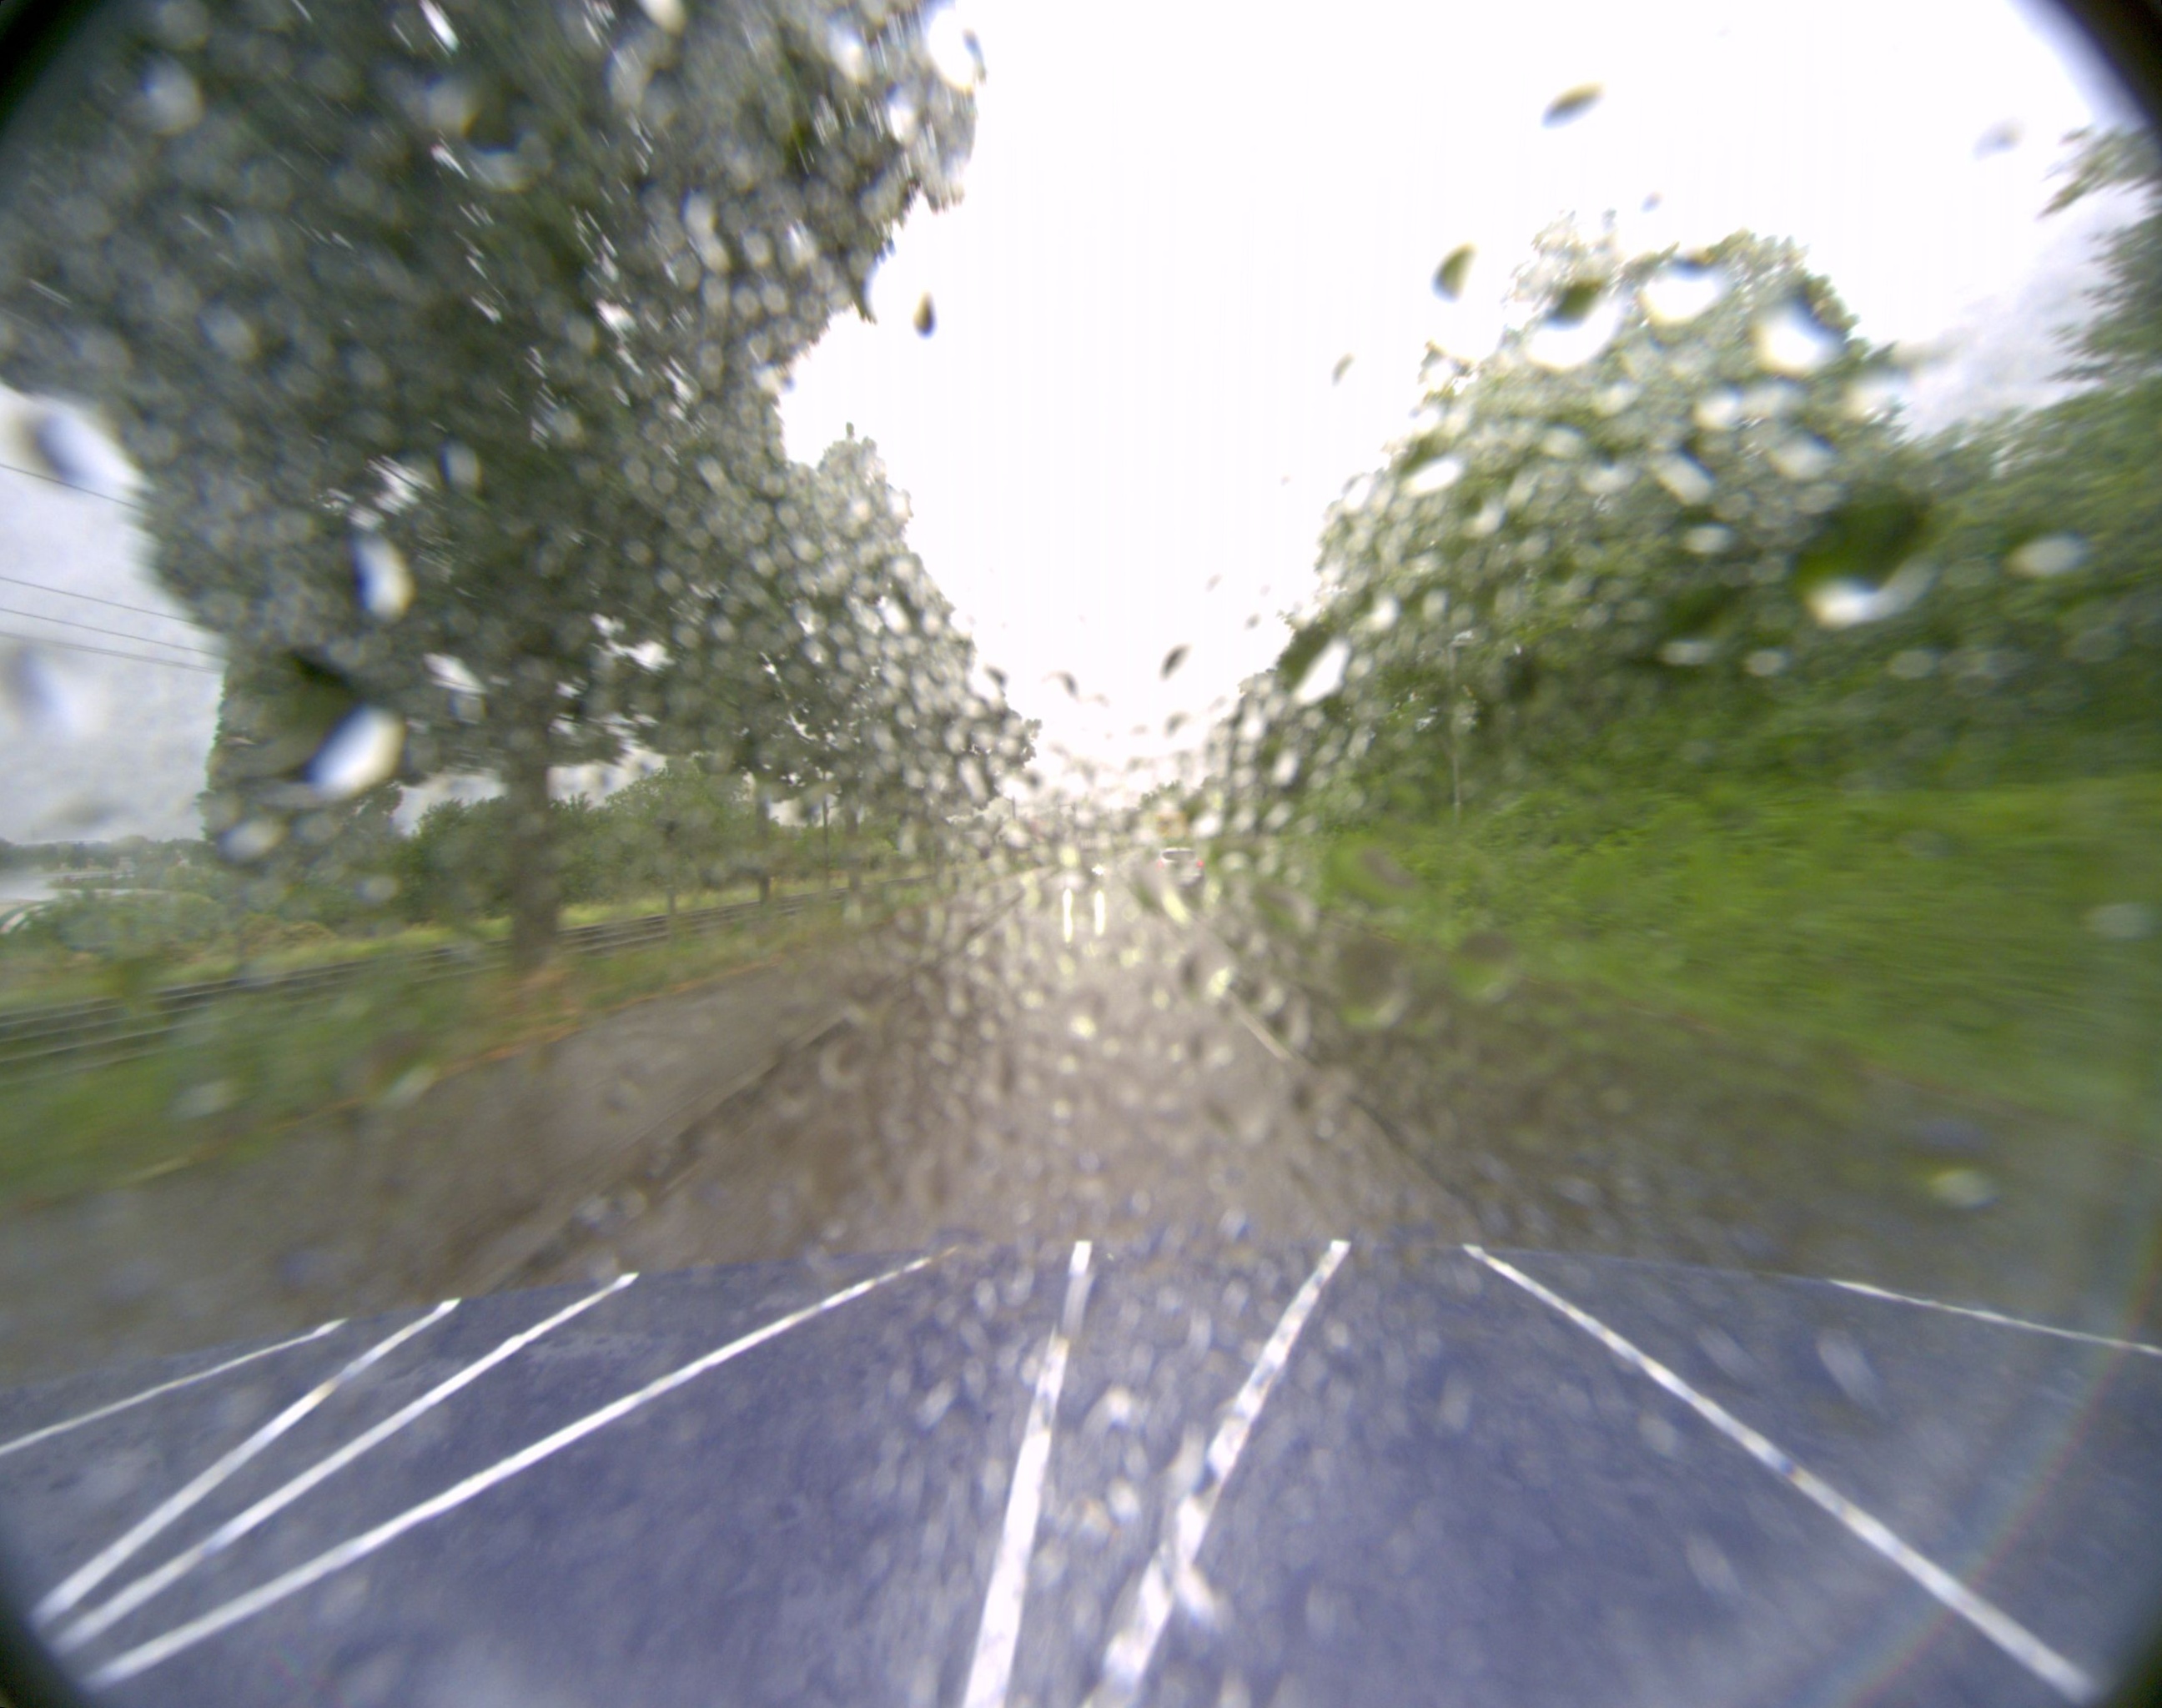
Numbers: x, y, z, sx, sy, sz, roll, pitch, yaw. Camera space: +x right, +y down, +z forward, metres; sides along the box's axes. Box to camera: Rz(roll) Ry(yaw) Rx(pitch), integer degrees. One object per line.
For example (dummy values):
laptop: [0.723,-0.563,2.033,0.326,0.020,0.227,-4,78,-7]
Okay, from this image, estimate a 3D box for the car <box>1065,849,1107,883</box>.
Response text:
car: [0.284,0.532,35.518,1.764,1.477,3.791,-1,0,3]

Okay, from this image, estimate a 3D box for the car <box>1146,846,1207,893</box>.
car: [3.510,0.547,28.464,1.765,1.611,3.790,-1,0,0]
